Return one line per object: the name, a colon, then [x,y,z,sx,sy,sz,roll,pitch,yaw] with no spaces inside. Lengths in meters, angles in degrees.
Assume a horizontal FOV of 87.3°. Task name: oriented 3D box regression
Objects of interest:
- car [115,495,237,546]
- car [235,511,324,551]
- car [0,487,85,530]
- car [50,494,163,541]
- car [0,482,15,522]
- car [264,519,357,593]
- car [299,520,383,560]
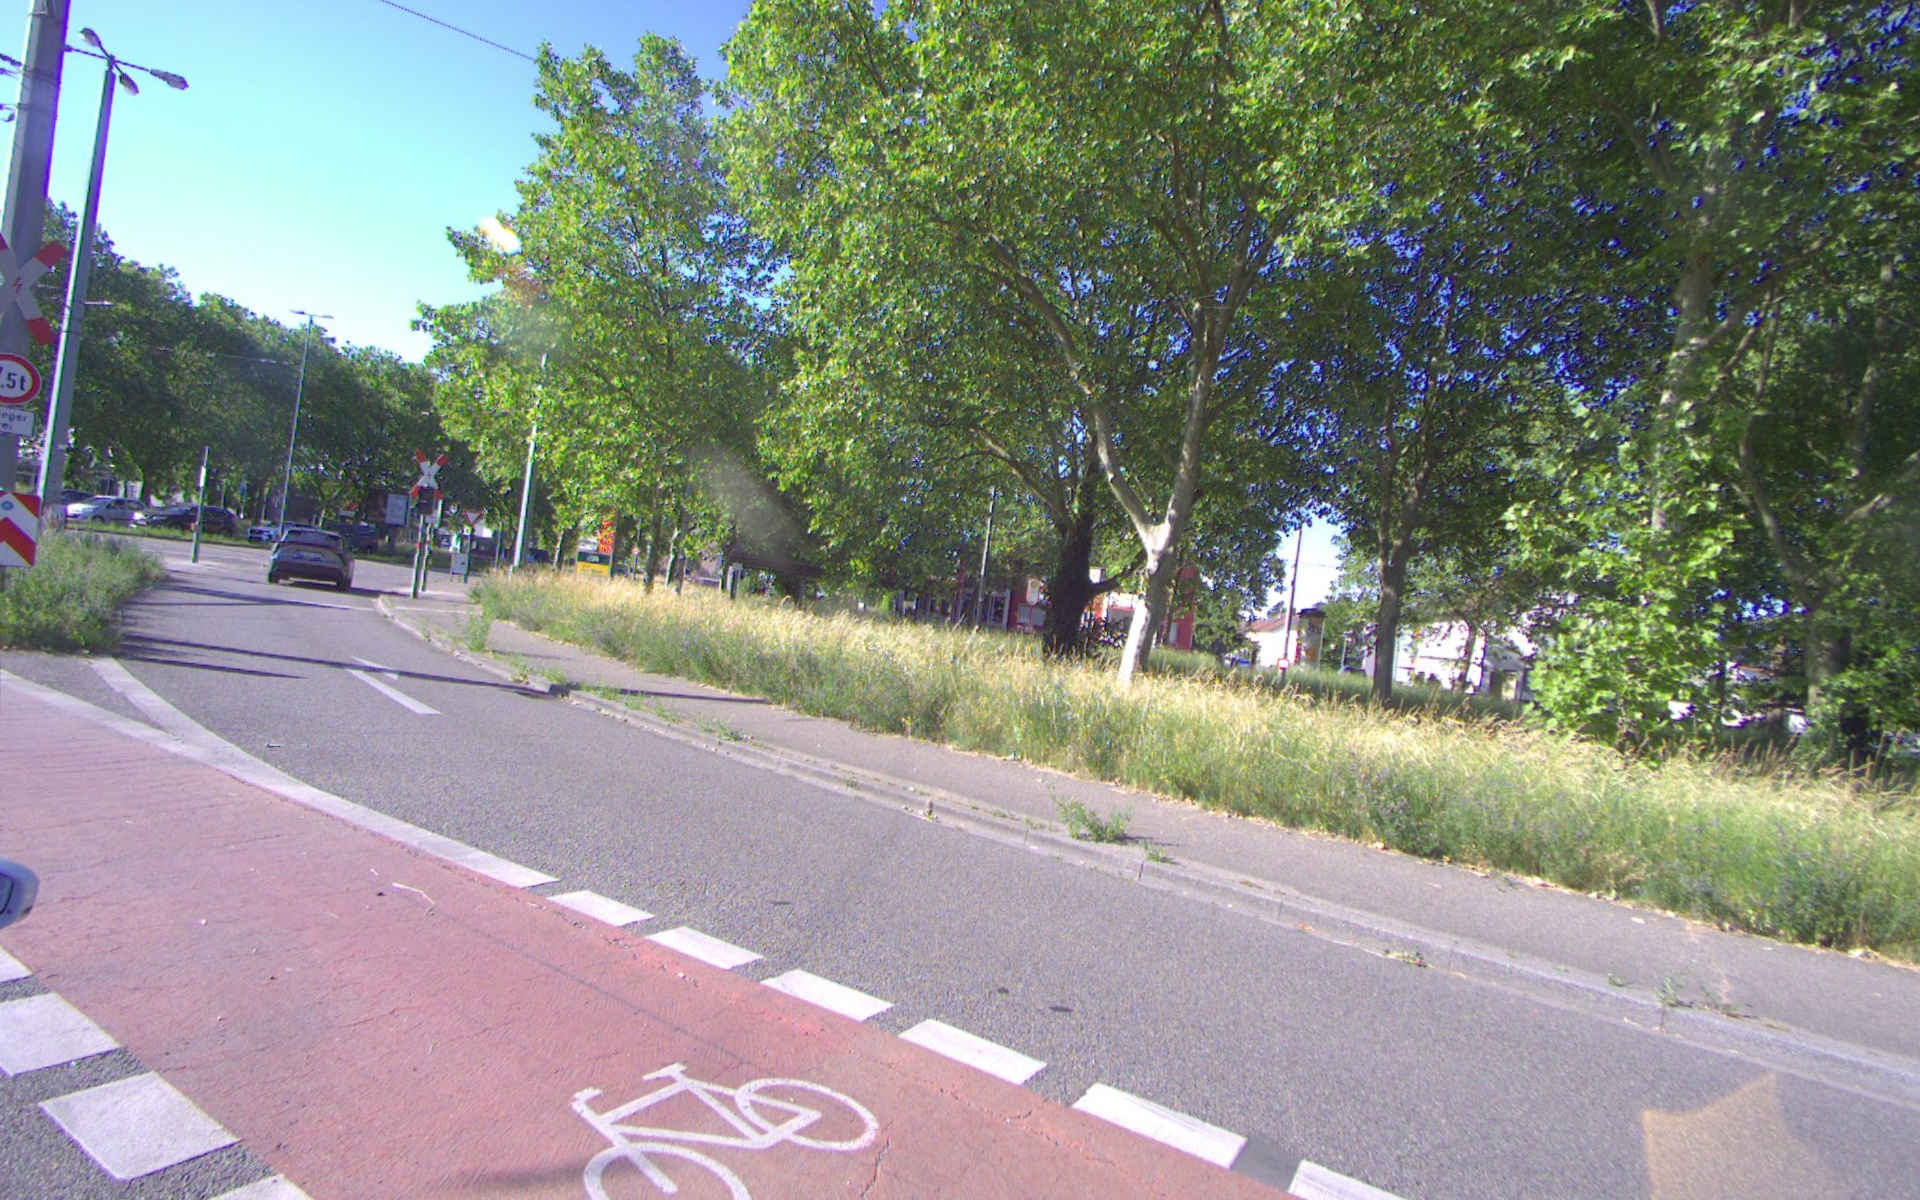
car: [-36.860,-3.675,47.467,1.885,1.732,4.497,7,-1,4]
car: [-42.175,-4.267,62.461,1.873,1.701,4.781,7,-2,4]
car: [-44.287,-4.395,47.879,1.681,1.620,3.861,7,-1,3]
car: [-40.484,-3.898,47.849,1.680,1.620,3.862,7,-1,7]
car: [-41.086,-4.277,40.521,1.782,1.620,4.093,7,-1,7]
car: [-18.409,-1.262,28.679,1.808,1.724,3.744,9,-1,-29]
car: [-44.560,-4.273,72.569,2.090,2.095,5.124,8,-1,10]
